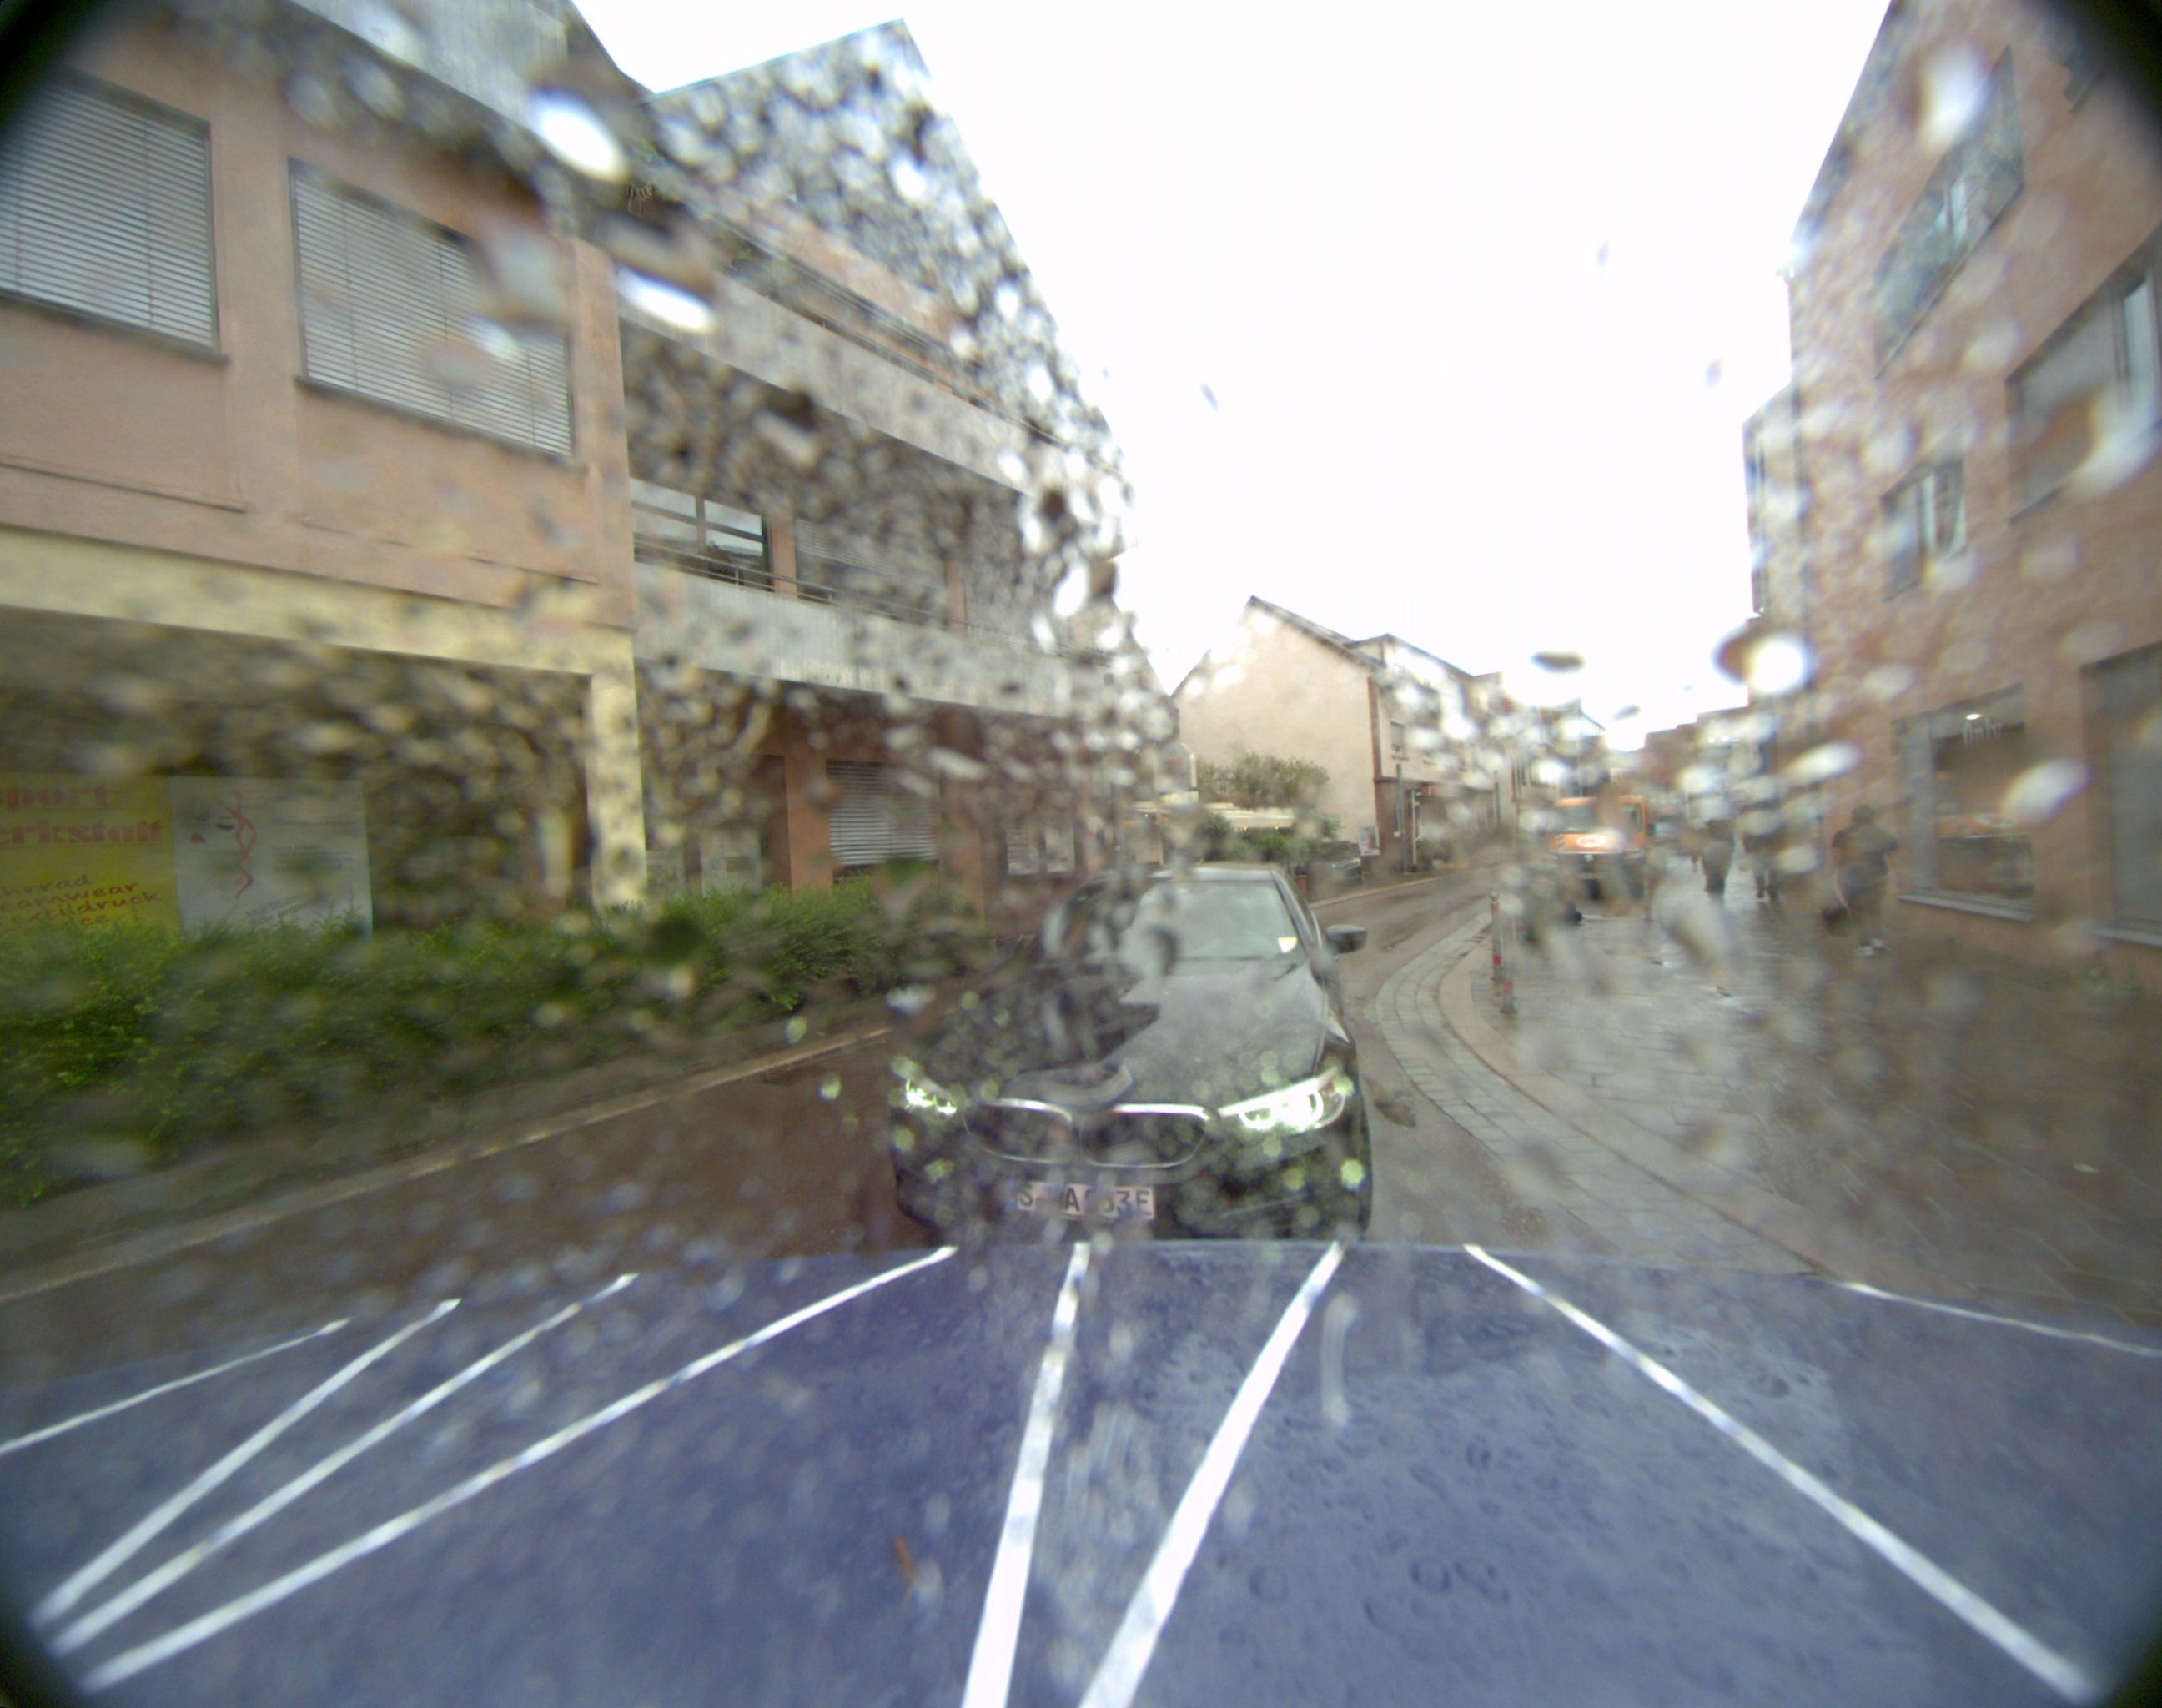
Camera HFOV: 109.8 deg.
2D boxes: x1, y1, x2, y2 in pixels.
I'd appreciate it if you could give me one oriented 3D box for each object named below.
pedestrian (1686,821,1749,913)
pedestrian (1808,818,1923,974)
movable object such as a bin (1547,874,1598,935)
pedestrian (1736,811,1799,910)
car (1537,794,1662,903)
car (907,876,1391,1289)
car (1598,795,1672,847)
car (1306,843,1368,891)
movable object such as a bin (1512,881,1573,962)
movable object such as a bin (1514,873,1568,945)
[{"bbox_3d":[11.754,0.240,14.049,0.715,1.630,0.747,-4,0,33],"label":"pedestrian"},{"bbox_3d":[8.437,0.435,8.208,0.660,1.600,0.685,-3,1,30],"label":"pedestrian"},{"bbox_3d":[7.941,0.817,12.273,0.582,0.921,0.482,-4,0,41],"label":"movable object such as a bin"},{"bbox_3d":[12.339,0.116,13.676,0.623,1.702,0.810,-4,0,33],"label":"pedestrian"},{"bbox_3d":[12.722,-0.197,18.439,1.994,2.227,5.872,-2,1,39],"label":"car"},{"bbox_3d":[0.706,1.001,5.306,1.945,1.394,4.423,-3,1,13],"label":"car"},{"bbox_3d":[34.828,-2.019,47.630,2.705,2.857,8.861,-3,-1,42],"label":"car"},{"bbox_3d":[8.415,0.368,25.032,1.735,1.349,3.941,-3,1,18],"label":"car"},{"bbox_3d":[6.337,0.908,10.446,0.657,1.031,0.611,-3,1,31],"label":"movable object such as a bin"},{"bbox_3d":[7.002,0.823,11.570,0.657,1.031,0.611,-2,1,31],"label":"movable object such as a bin"}]
